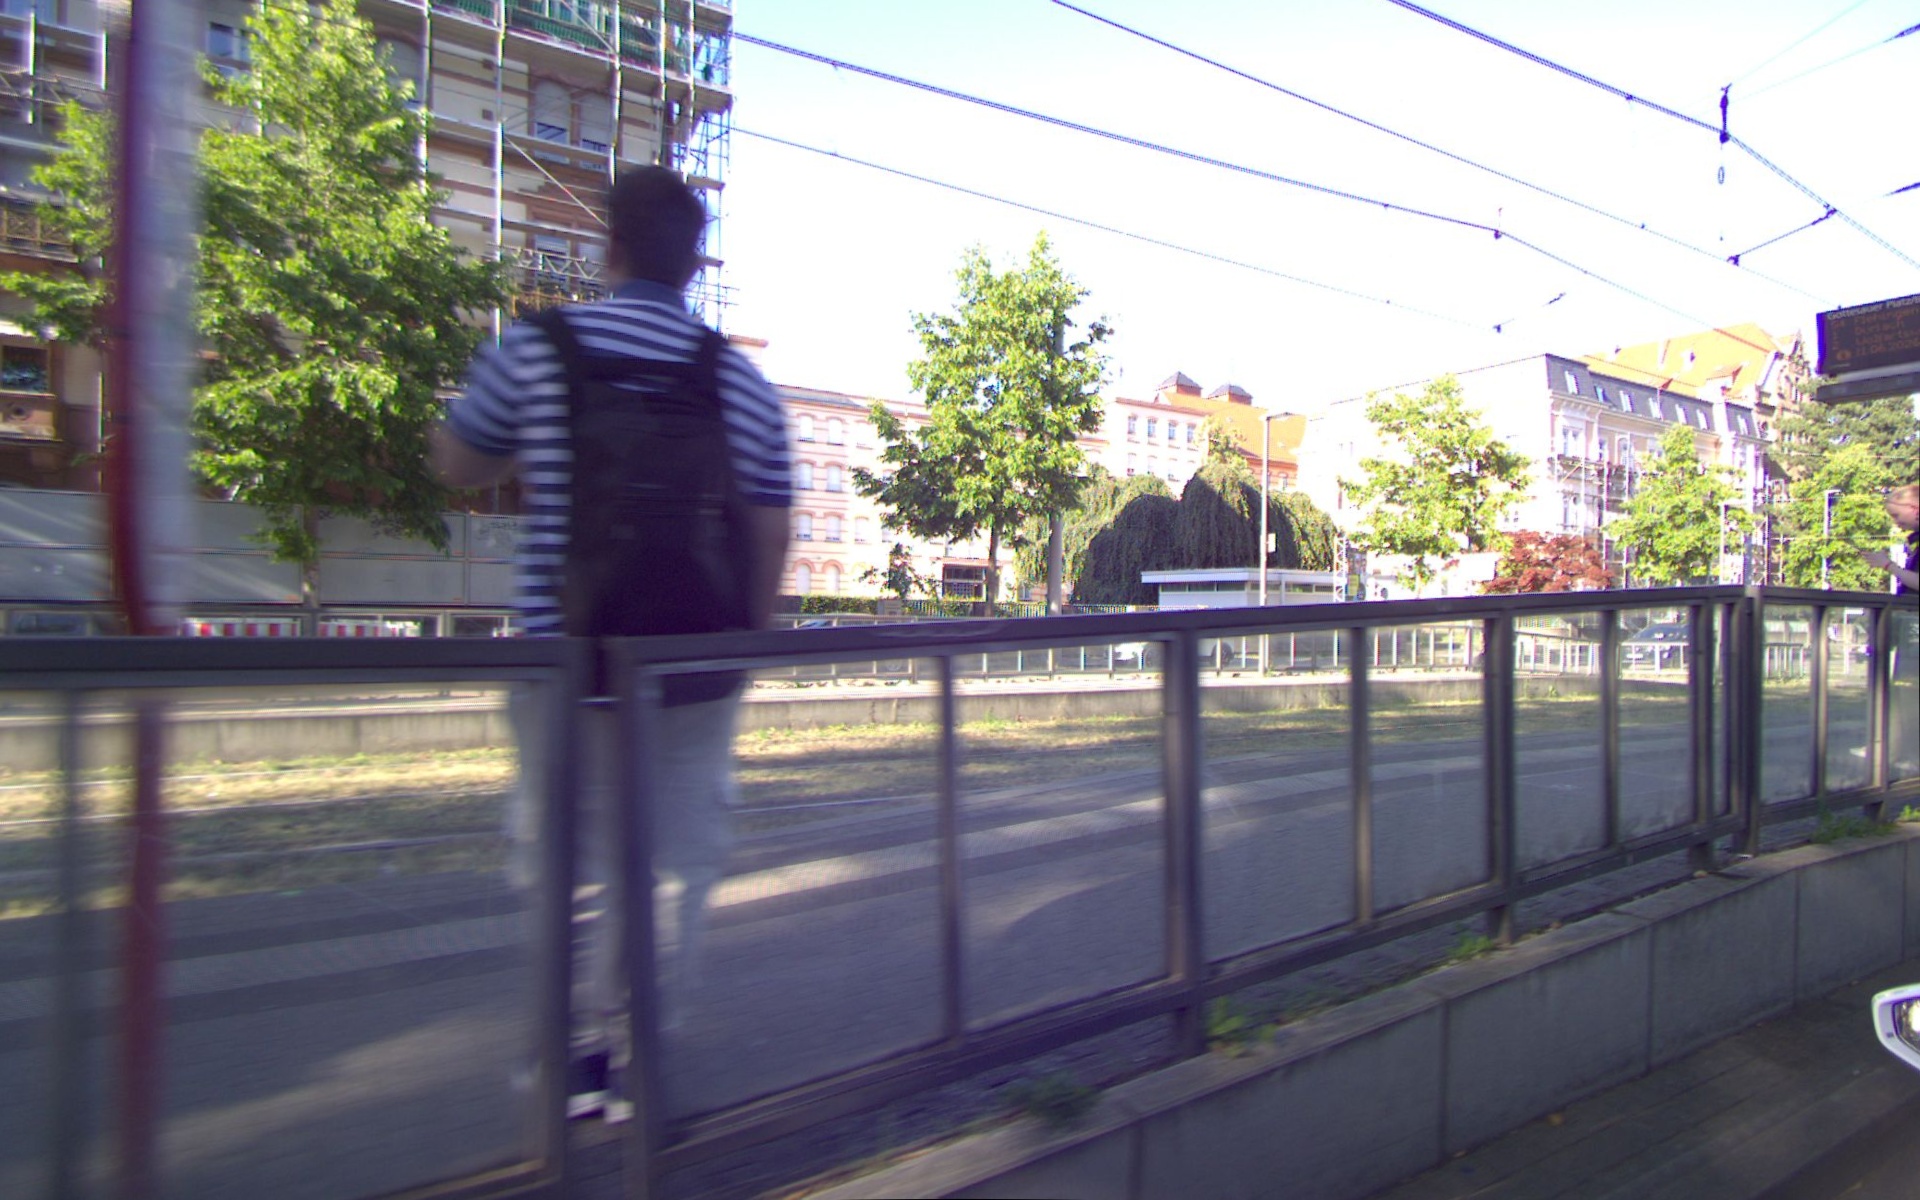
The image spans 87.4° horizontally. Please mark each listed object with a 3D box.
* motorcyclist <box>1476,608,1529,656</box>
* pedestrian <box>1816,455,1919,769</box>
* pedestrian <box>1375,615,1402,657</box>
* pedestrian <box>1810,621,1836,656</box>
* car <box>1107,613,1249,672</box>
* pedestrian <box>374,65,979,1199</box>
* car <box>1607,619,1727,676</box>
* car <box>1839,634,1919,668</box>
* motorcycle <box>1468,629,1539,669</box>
[{"bbox_3d":[15.621,0.925,28.917,1.264,1.317,0.812,1,1,-35],"label":"motorcyclist"},{"bbox_3d":[5.512,0.071,5.702,0.670,1.713,0.753,1,1,-30],"label":"pedestrian"},{"bbox_3d":[17.231,1.435,40.391,0.805,1.669,0.719,2,-2,-36],"label":"pedestrian"},{"bbox_3d":[49.794,2.224,57.978,1.074,1.953,0.853,2,-2,-32],"label":"pedestrian"},{"bbox_3d":[6.637,1.288,30.516,4.012,1.607,1.715,2,1,-27],"label":"car"},{"bbox_3d":[-0.545,0.159,1.845,0.884,1.713,0.676,1,1,-30],"label":"pedestrian"},{"bbox_3d":[25.023,1.673,35.538,3.978,1.830,1.856,2,1,-29],"label":"car"},{"bbox_3d":[41.742,2.302,45.607,3.807,1.426,1.598,2,1,-31],"label":"car"},{"bbox_3d":[15.684,1.401,28.979,2.378,1.087,0.812,2,1,-35],"label":"motorcycle"}]
